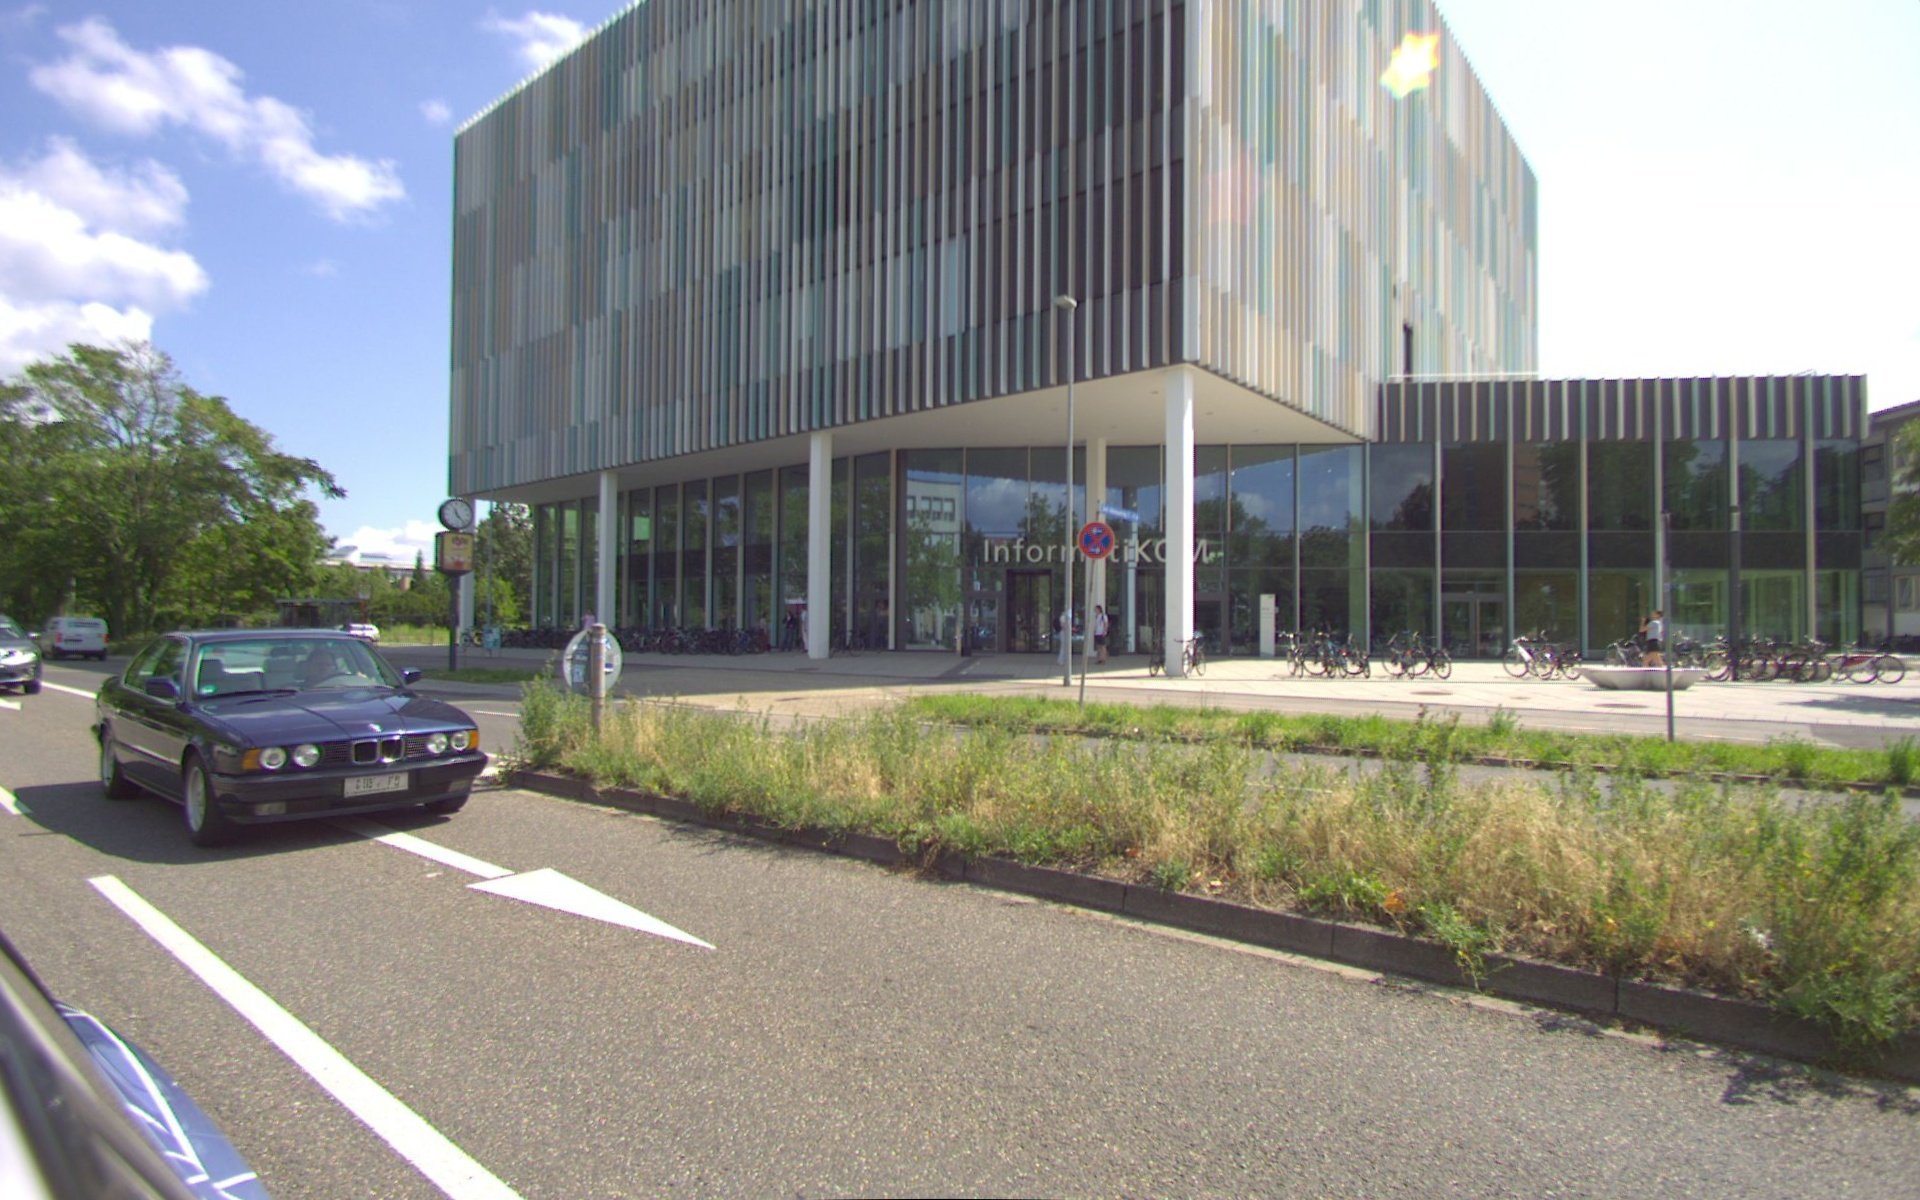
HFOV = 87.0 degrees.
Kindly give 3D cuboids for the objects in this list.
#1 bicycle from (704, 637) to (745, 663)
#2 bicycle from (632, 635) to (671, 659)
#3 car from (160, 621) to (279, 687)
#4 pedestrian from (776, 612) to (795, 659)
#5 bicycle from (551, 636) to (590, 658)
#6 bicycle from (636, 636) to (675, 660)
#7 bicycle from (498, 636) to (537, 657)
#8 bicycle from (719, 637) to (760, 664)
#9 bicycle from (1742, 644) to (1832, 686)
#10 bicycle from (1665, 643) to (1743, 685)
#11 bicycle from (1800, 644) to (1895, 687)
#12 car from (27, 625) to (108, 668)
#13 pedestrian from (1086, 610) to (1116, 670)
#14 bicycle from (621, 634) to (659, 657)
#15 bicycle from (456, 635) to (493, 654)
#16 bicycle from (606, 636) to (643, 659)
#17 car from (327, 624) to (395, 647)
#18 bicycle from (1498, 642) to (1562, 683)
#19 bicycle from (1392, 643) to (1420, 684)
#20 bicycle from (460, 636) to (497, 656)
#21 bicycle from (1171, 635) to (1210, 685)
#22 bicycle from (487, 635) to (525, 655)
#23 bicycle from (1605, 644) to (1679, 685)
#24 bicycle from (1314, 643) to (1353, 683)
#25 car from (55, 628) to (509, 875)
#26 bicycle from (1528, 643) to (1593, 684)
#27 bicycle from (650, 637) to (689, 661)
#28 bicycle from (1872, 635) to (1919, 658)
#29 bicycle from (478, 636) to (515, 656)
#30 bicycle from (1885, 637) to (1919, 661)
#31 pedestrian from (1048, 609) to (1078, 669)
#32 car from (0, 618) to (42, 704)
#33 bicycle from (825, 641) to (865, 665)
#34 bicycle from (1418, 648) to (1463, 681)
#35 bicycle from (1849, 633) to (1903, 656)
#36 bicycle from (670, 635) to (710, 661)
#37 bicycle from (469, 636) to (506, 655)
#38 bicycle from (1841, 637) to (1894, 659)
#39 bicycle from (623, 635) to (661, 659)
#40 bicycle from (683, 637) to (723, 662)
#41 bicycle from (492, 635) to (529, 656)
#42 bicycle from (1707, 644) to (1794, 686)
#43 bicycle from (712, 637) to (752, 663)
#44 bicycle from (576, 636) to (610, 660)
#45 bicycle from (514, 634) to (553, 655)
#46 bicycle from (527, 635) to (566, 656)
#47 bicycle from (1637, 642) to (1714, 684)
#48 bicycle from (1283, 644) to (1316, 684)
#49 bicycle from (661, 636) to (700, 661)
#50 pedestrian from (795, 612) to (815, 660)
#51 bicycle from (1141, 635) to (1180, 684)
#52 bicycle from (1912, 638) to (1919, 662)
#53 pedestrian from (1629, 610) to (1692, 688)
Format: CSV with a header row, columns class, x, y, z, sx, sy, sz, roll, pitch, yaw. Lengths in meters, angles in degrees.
class,x,y,z,sx,sy,sz,roll,pitch,yaw
bicycle,-9.334,1.960,40.117,1.521,0.962,0.374,0,-1,-35
bicycle,-13.168,2.003,43.204,1.521,0.962,0.374,0,-1,-35
car,-22.217,1.617,30.308,4.727,1.825,1.707,-2,-5,40
pedestrian,-7.067,1.435,40.999,0.553,1.856,0.556,-1,-1,33
bicycle,-18.395,2.212,47.812,0.433,0.962,1.761,-1,-1,40
bicycle,-12.881,2.014,42.779,1.521,0.962,0.374,0,-1,-35
bicycle,-22.245,2.319,50.906,0.433,0.962,1.761,-1,-1,40
bicycle,-8.527,1.946,39.170,1.521,0.962,0.374,0,-1,-35
bicycle,20.569,1.611,25.213,0.520,0.962,1.778,0,-1,-12
bicycle,18.738,1.600,25.539,0.521,0.962,1.776,0,-1,-6
bicycle,21.910,1.596,25.027,0.520,0.962,1.778,0,-1,-12
car,-40.158,2.092,45.509,4.726,1.825,1.879,-2,-4,39
pedestrian,4.449,1.247,31.944,0.680,1.856,0.679,1,-1,-42
bicycle,-13.883,1.975,43.968,1.521,0.962,0.374,0,-1,-35
bicycle,-26.045,2.365,54.277,0.433,0.962,1.761,-1,-1,40
bicycle,-14.821,2.081,44.749,1.521,0.962,0.374,0,-1,-35
car,-42.397,2.494,71.677,3.771,1.522,1.901,0,0,-45
bicycle,14.558,1.574,25.905,0.521,0.962,1.775,0,-1,-3
bicycle,11.514,1.619,26.152,0.525,0.962,1.761,0,-1,20
bicycle,-25.610,2.443,53.858,0.433,0.962,1.761,-1,-1,40
bicycle,6.015,1.551,26.376,0.373,1.196,1.526,0,0,38
bicycle,-23.374,2.295,52.112,0.433,0.962,1.761,-1,-1,40
bicycle,17.260,1.607,25.669,0.521,0.962,1.776,0,-1,-6
bicycle,9.761,1.637,26.493,0.368,0.962,1.772,0,-1,1
car,-5.511,0.937,7.961,4.608,1.397,1.675,-1,-1,39
bicycle,15.378,1.618,25.951,0.521,0.962,1.775,0,-1,-3
bicycle,-12.118,2.031,42.297,1.521,0.962,0.374,0,-1,-35
bicycle,40.940,2.016,44.092,1.755,0.962,0.527,0,0,13
bicycle,-24.083,2.376,52.610,0.433,0.962,1.761,-1,-1,40
bicycle,40.699,2.094,43.202,1.755,0.962,0.527,0,0,13
pedestrian,3.218,1.212,31.575,0.775,1.856,0.519,0,-1,-15
car,-20.839,1.247,21.203,4.475,1.691,1.801,-1,-2,40
bicycle,-4.113,1.882,36.203,0.373,0.782,1.524,-1,-1,43
bicycle,12.295,1.630,25.943,0.523,0.770,1.769,0,-1,8
bicycle,41.151,1.987,45.473,1.755,0.962,0.527,0,0,13
bicycle,-10.932,1.934,40.937,1.521,0.962,0.374,0,-1,-35
bicycle,-24.770,2.372,53.094,0.433,0.962,1.761,-1,-1,40
bicycle,41.392,2.196,46.193,1.755,0.962,0.527,0,0,13
bicycle,-13.701,2.027,43.579,1.521,0.962,0.374,0,-1,-35
bicycle,-10.347,1.987,40.757,1.521,0.962,0.374,0,-1,-35
bicycle,-22.953,2.317,51.698,0.433,0.962,1.761,-1,-1,40
bicycle,19.802,1.607,25.397,0.520,0.962,1.778,0,-1,-12
bicycle,-8.911,1.953,39.583,1.521,0.962,0.374,0,-1,-35
bicycle,-16.120,2.109,44.500,0.372,0.962,1.531,-1,-1,29
bicycle,-21.081,2.189,50.039,0.433,0.962,1.761,-1,-1,40
bicycle,-20.205,2.209,49.477,0.433,0.962,1.761,-1,-1,40
bicycle,18.051,1.571,25.574,0.521,0.962,1.776,0,-1,-6
bicycle,8.823,1.649,26.359,0.368,0.962,1.546,0,-1,1
bicycle,-11.416,1.990,41.375,1.521,0.962,0.374,0,-1,-35
pedestrian,-6.086,1.416,39.643,0.553,1.856,0.556,-1,-1,33
bicycle,5.297,1.543,26.666,0.373,1.196,1.526,0,0,38
bicycle,40.631,2.071,41.892,1.755,0.962,0.527,0,0,13
pedestrian,15.547,1.068,22.450,1.014,1.663,1.167,-1,-3,41
